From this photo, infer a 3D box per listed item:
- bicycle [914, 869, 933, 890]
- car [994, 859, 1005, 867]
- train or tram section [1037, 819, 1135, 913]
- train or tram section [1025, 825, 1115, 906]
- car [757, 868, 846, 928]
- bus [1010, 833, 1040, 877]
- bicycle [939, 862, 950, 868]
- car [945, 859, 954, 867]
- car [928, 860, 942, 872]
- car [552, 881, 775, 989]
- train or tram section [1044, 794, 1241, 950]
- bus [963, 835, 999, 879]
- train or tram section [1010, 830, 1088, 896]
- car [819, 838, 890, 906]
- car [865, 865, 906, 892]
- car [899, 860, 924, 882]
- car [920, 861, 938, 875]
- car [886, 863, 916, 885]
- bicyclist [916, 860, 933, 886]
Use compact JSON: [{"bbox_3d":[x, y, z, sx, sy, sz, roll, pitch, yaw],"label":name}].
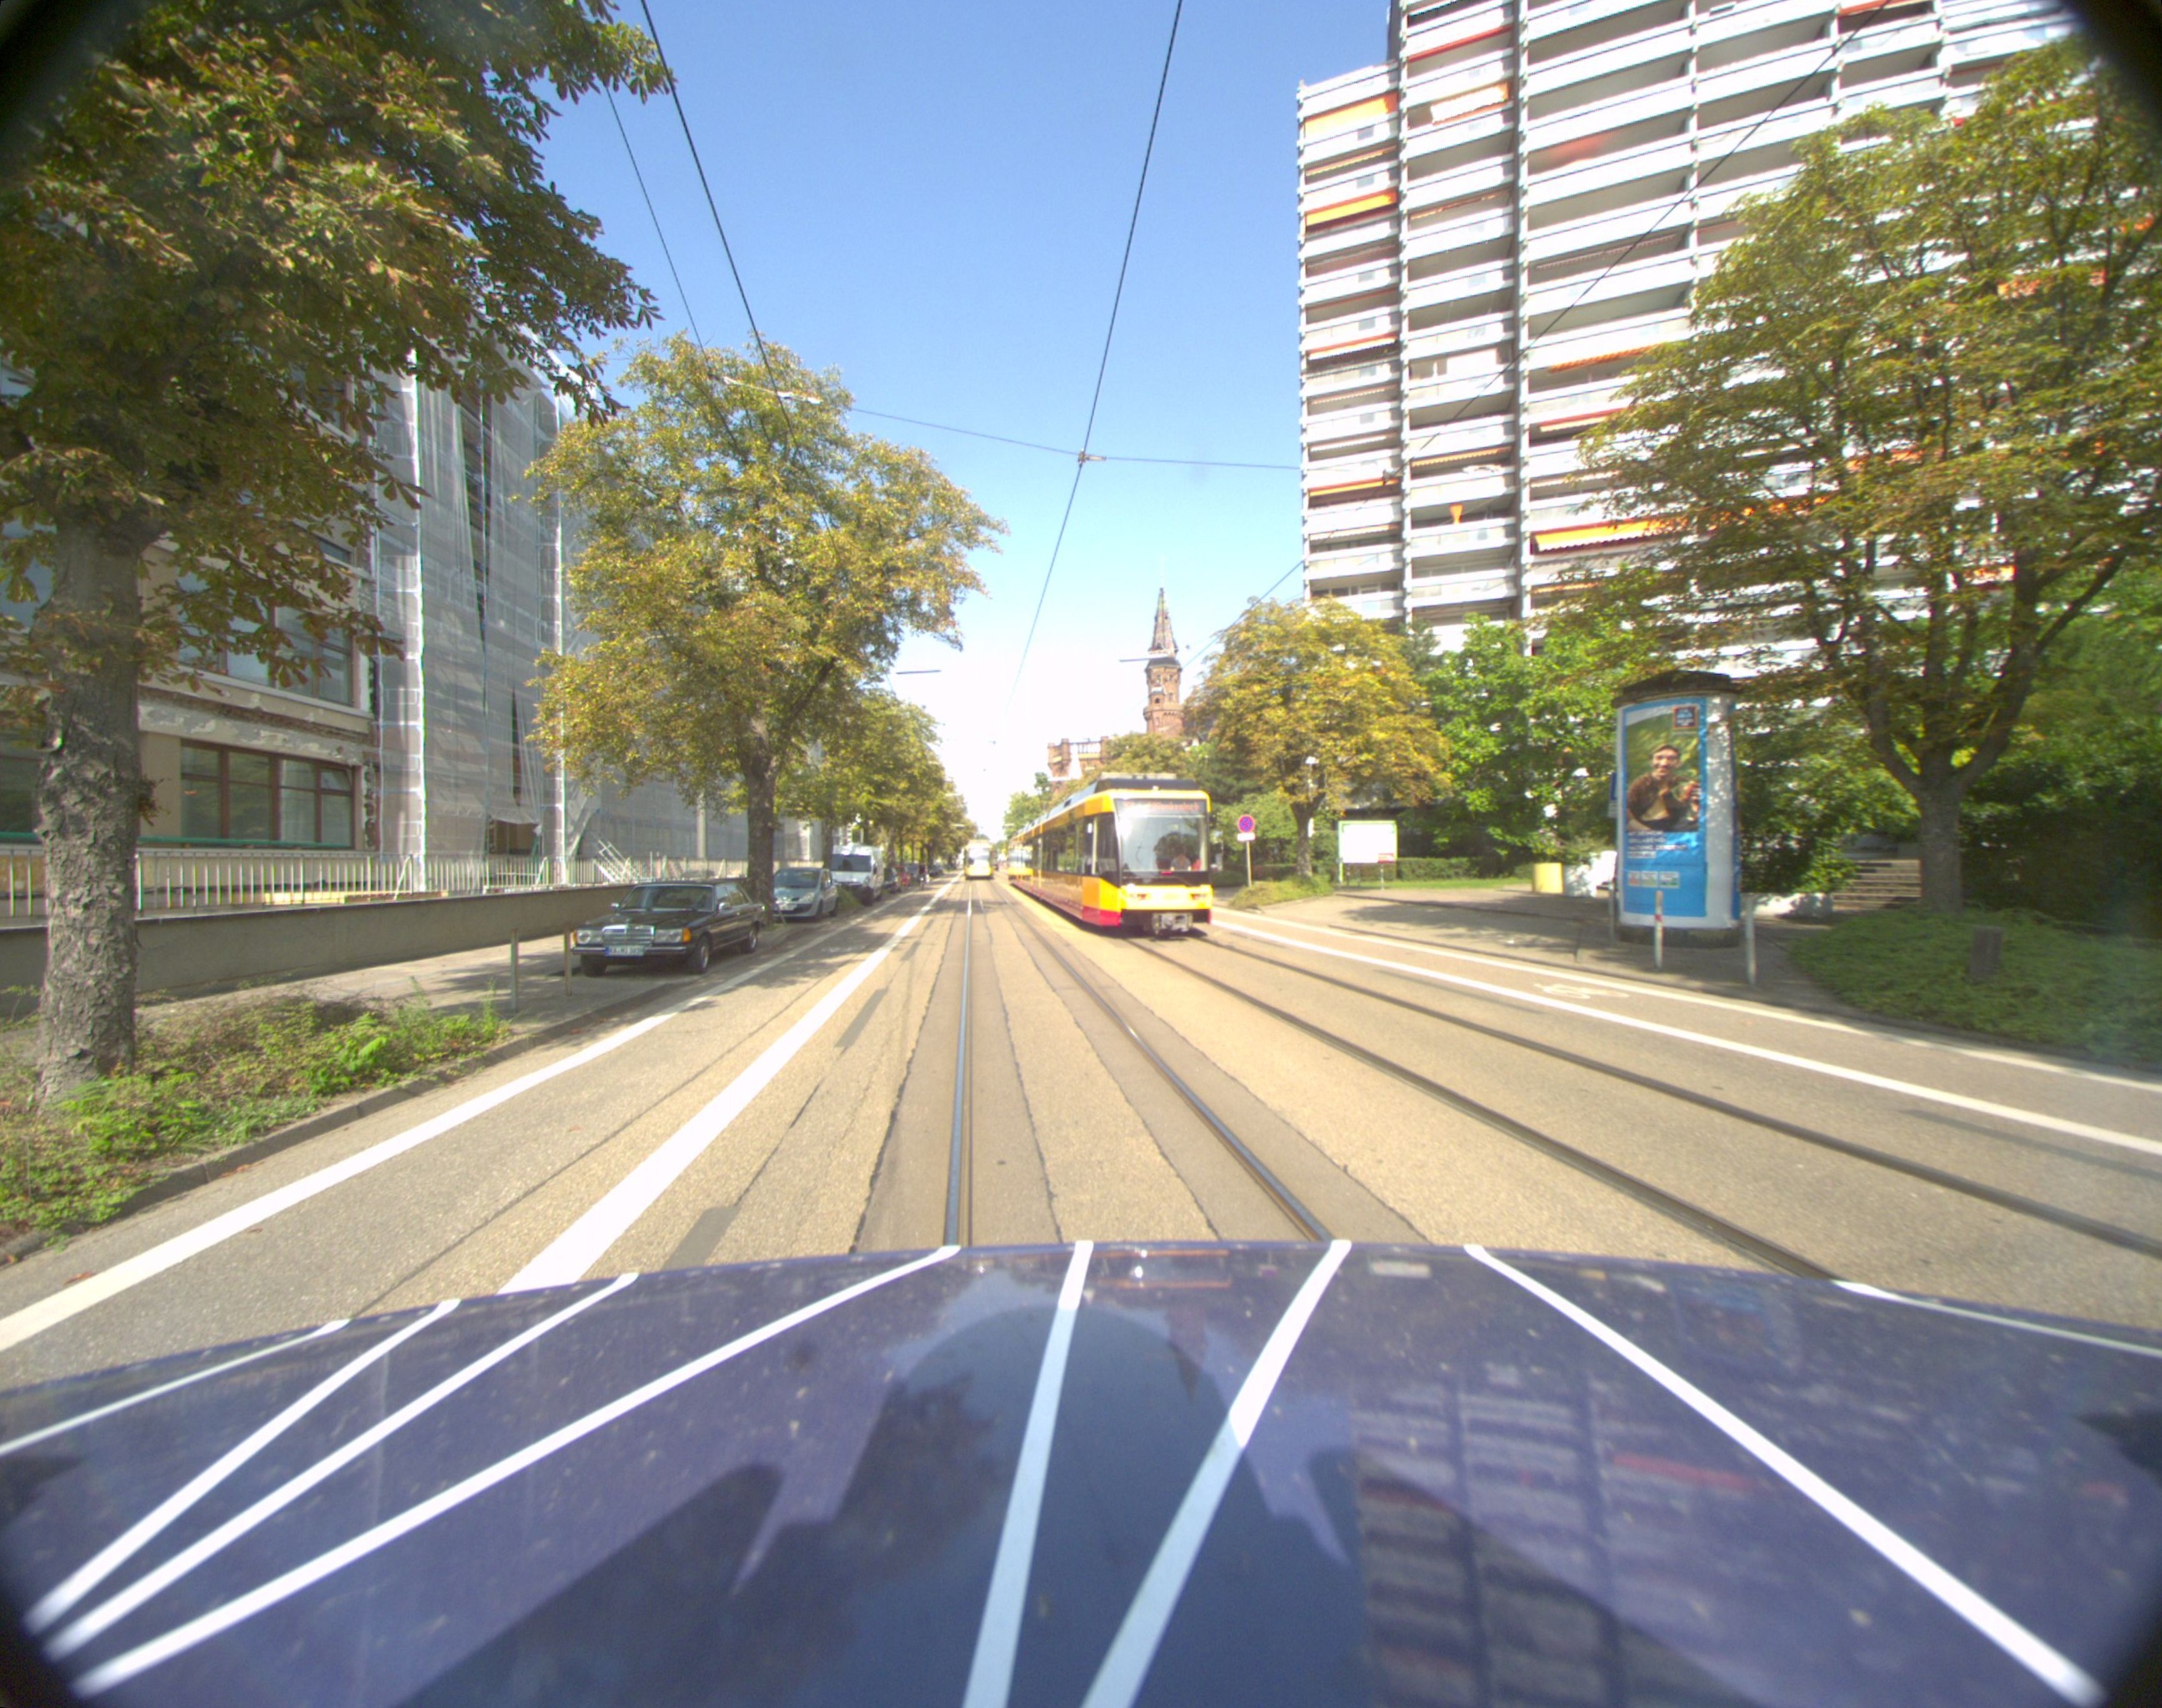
[{"bbox_3d":[-8.865,1.418,42.734,0.789,1.138,2.303,-1,0,-6],"label":"bicycle"},{"bbox_3d":[-14.927,1.625,138.717,1.834,1.367,4.509,2,0,-9],"label":"car"},{"bbox_3d":[0.077,0.346,25.143,2.714,2.840,3.646,-1,0,-8],"label":"train or tram section"},{"bbox_3d":[-0.611,0.385,30.213,2.737,2.833,6.538,-1,0,-8],"label":"train or tram section"},{"bbox_3d":[-8.187,1.232,22.604,1.670,1.607,3.874,0,-1,-7],"label":"car"},{"bbox_3d":[-5.244,0.124,70.143,2.477,3.767,9.125,-1,0,-6],"label":"bus"},{"bbox_3d":[-23.074,1.865,128.260,1.775,1.057,0.795,1,0,-10],"label":"bicycle"},{"bbox_3d":[-25.259,1.814,146.051,1.746,1.477,4.434,1,-1,-9],"label":"car"},{"bbox_3d":[-18.735,1.560,97.704,1.651,1.420,4.081,1,0,-9],"label":"car"},{"bbox_3d":[-6.827,1.227,13.070,1.759,1.369,4.715,1,0,-8],"label":"car"},{"bbox_3d":[0.909,0.321,19.243,2.689,2.845,10.535,-1,0,-8],"label":"train or tram section"},{"bbox_3d":[-9.066,0.252,69.766,2.902,3.771,9.313,-1,0,-6],"label":"bus"},{"bbox_3d":[-2.115,0.398,41.116,2.738,2.877,15.443,-1,0,-8],"label":"train or tram section"},{"bbox_3d":[-9.460,0.707,32.155,2.089,2.537,5.497,2,0,-9],"label":"car"},{"bbox_3d":[-10.820,1.329,42.359,1.621,1.366,4.824,0,0,-7],"label":"car"},{"bbox_3d":[-14.016,1.365,62.919,1.759,1.681,4.393,-2,0,-10],"label":"car"},{"bbox_3d":[-17.062,1.532,85.504,1.651,1.502,3.775,1,0,-7],"label":"car"},{"bbox_3d":[-12.412,1.377,52.492,1.622,1.405,3.997,0,0,-7],"label":"car"},{"bbox_3d":[-8.951,1.058,43.434,0.789,1.461,1.115,-1,0,-6],"label":"bicyclist"}]
